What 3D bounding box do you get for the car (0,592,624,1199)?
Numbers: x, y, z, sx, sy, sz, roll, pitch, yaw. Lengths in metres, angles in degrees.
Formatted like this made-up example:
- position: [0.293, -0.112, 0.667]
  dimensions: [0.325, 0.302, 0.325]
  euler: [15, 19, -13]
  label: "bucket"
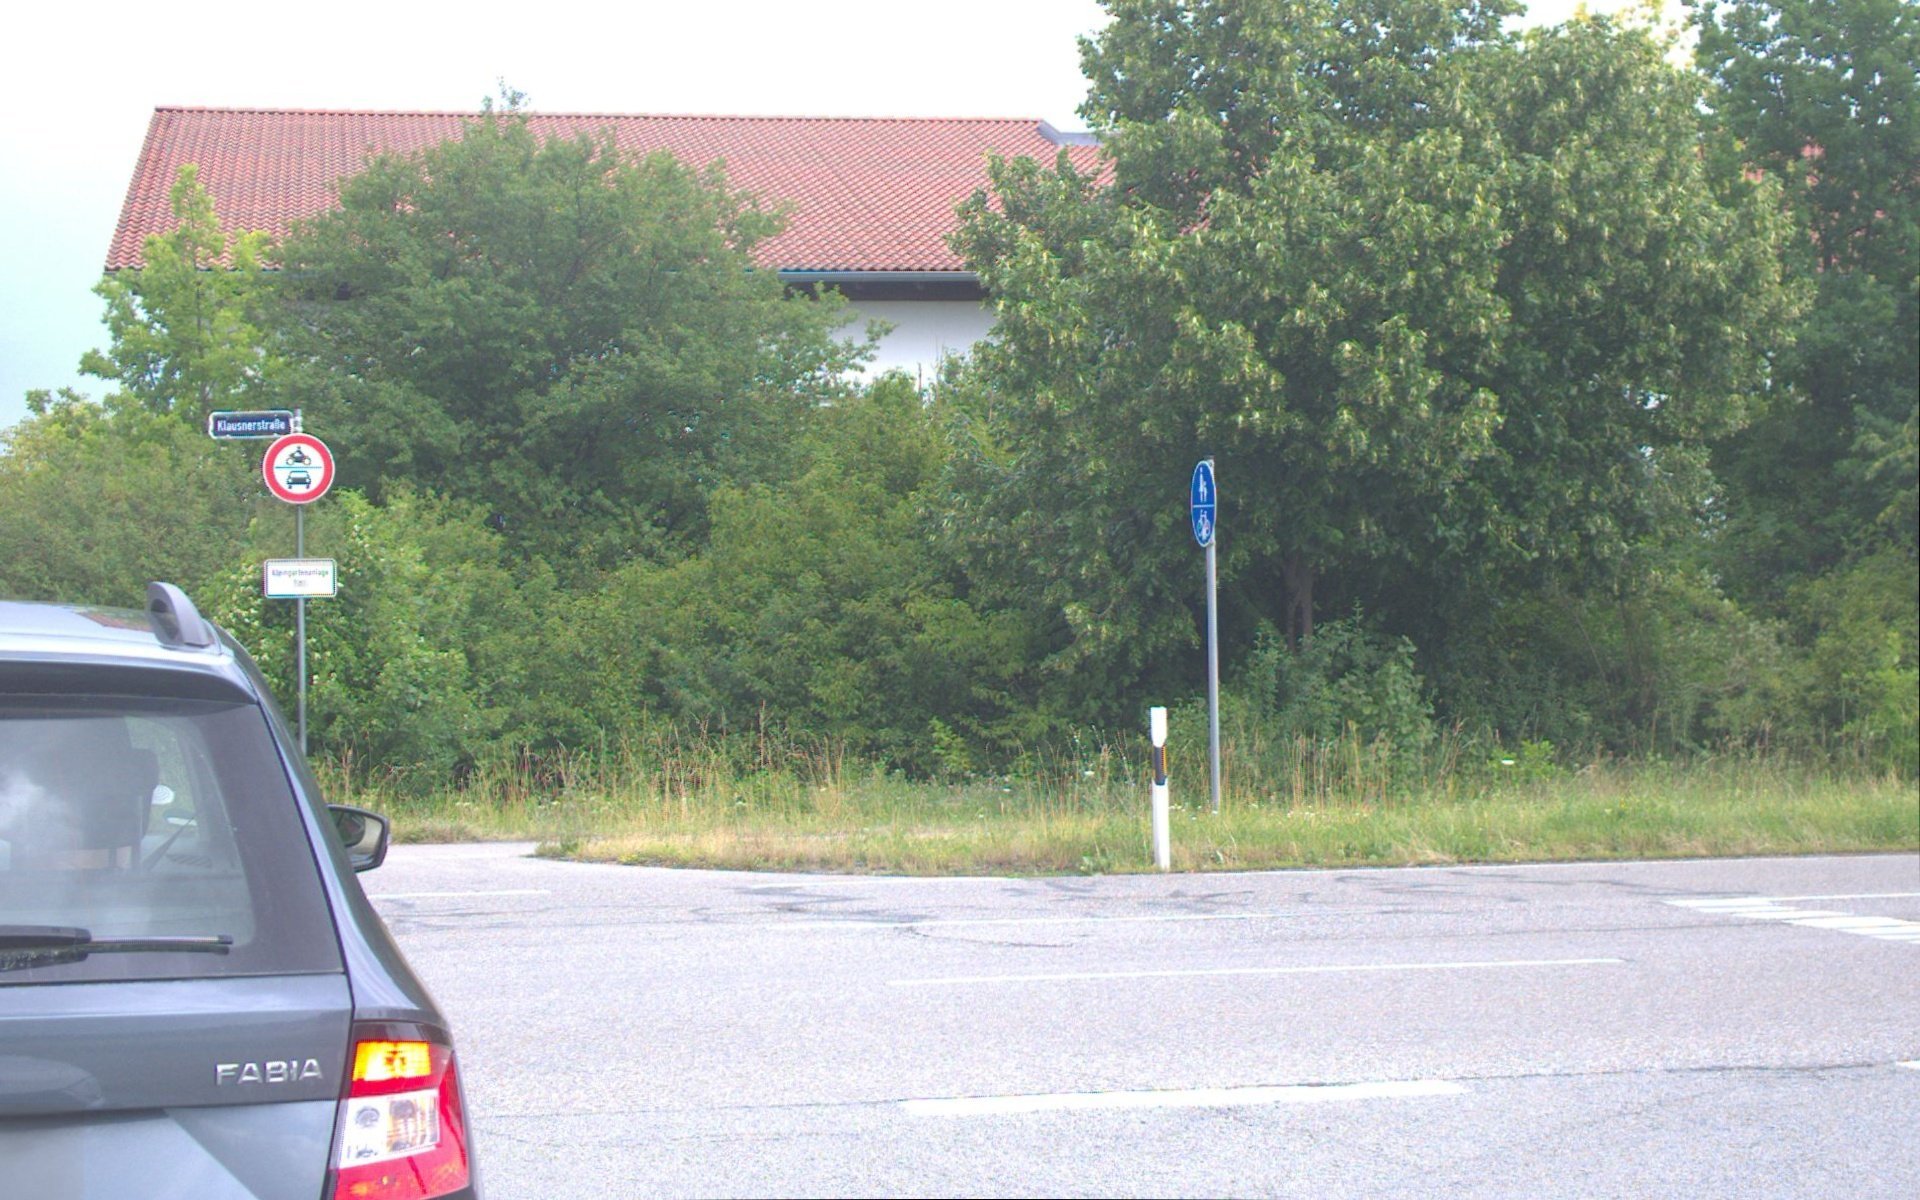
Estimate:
- position: [-1.774, 0.710, 5.448]
  dimensions: [1.712, 1.442, 4.118]
  euler: [0, 0, -17]
  label: "car"
